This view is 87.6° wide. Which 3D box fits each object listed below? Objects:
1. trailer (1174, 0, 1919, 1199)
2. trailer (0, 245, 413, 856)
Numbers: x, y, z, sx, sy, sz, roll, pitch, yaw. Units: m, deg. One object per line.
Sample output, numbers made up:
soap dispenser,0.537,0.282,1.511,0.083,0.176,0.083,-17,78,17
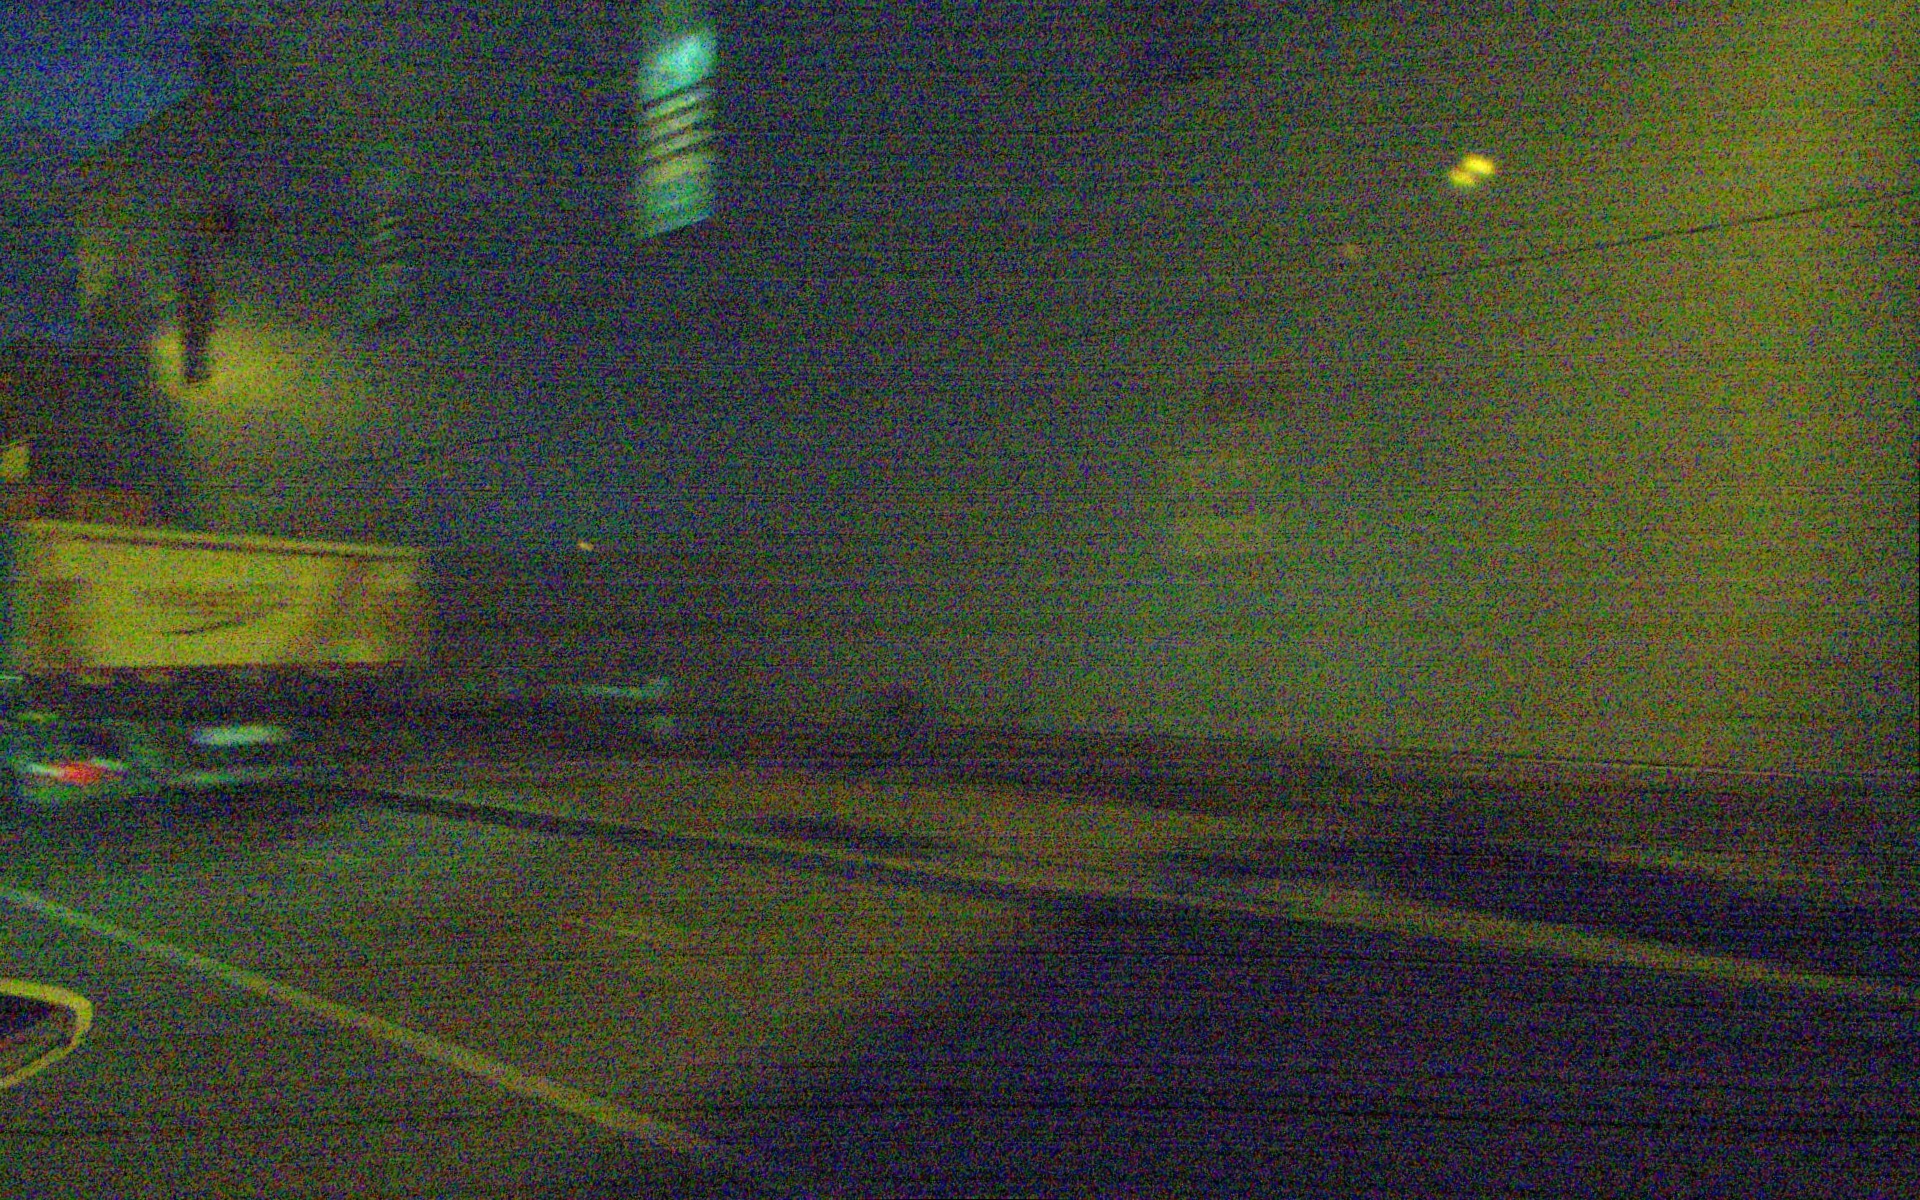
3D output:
trailer,4.712,-0.374,1.435,8.161,3.571,2.873,-1,0,31
trailer,-11.440,-0.122,11.156,14.448,3.811,2.761,-1,-2,32
